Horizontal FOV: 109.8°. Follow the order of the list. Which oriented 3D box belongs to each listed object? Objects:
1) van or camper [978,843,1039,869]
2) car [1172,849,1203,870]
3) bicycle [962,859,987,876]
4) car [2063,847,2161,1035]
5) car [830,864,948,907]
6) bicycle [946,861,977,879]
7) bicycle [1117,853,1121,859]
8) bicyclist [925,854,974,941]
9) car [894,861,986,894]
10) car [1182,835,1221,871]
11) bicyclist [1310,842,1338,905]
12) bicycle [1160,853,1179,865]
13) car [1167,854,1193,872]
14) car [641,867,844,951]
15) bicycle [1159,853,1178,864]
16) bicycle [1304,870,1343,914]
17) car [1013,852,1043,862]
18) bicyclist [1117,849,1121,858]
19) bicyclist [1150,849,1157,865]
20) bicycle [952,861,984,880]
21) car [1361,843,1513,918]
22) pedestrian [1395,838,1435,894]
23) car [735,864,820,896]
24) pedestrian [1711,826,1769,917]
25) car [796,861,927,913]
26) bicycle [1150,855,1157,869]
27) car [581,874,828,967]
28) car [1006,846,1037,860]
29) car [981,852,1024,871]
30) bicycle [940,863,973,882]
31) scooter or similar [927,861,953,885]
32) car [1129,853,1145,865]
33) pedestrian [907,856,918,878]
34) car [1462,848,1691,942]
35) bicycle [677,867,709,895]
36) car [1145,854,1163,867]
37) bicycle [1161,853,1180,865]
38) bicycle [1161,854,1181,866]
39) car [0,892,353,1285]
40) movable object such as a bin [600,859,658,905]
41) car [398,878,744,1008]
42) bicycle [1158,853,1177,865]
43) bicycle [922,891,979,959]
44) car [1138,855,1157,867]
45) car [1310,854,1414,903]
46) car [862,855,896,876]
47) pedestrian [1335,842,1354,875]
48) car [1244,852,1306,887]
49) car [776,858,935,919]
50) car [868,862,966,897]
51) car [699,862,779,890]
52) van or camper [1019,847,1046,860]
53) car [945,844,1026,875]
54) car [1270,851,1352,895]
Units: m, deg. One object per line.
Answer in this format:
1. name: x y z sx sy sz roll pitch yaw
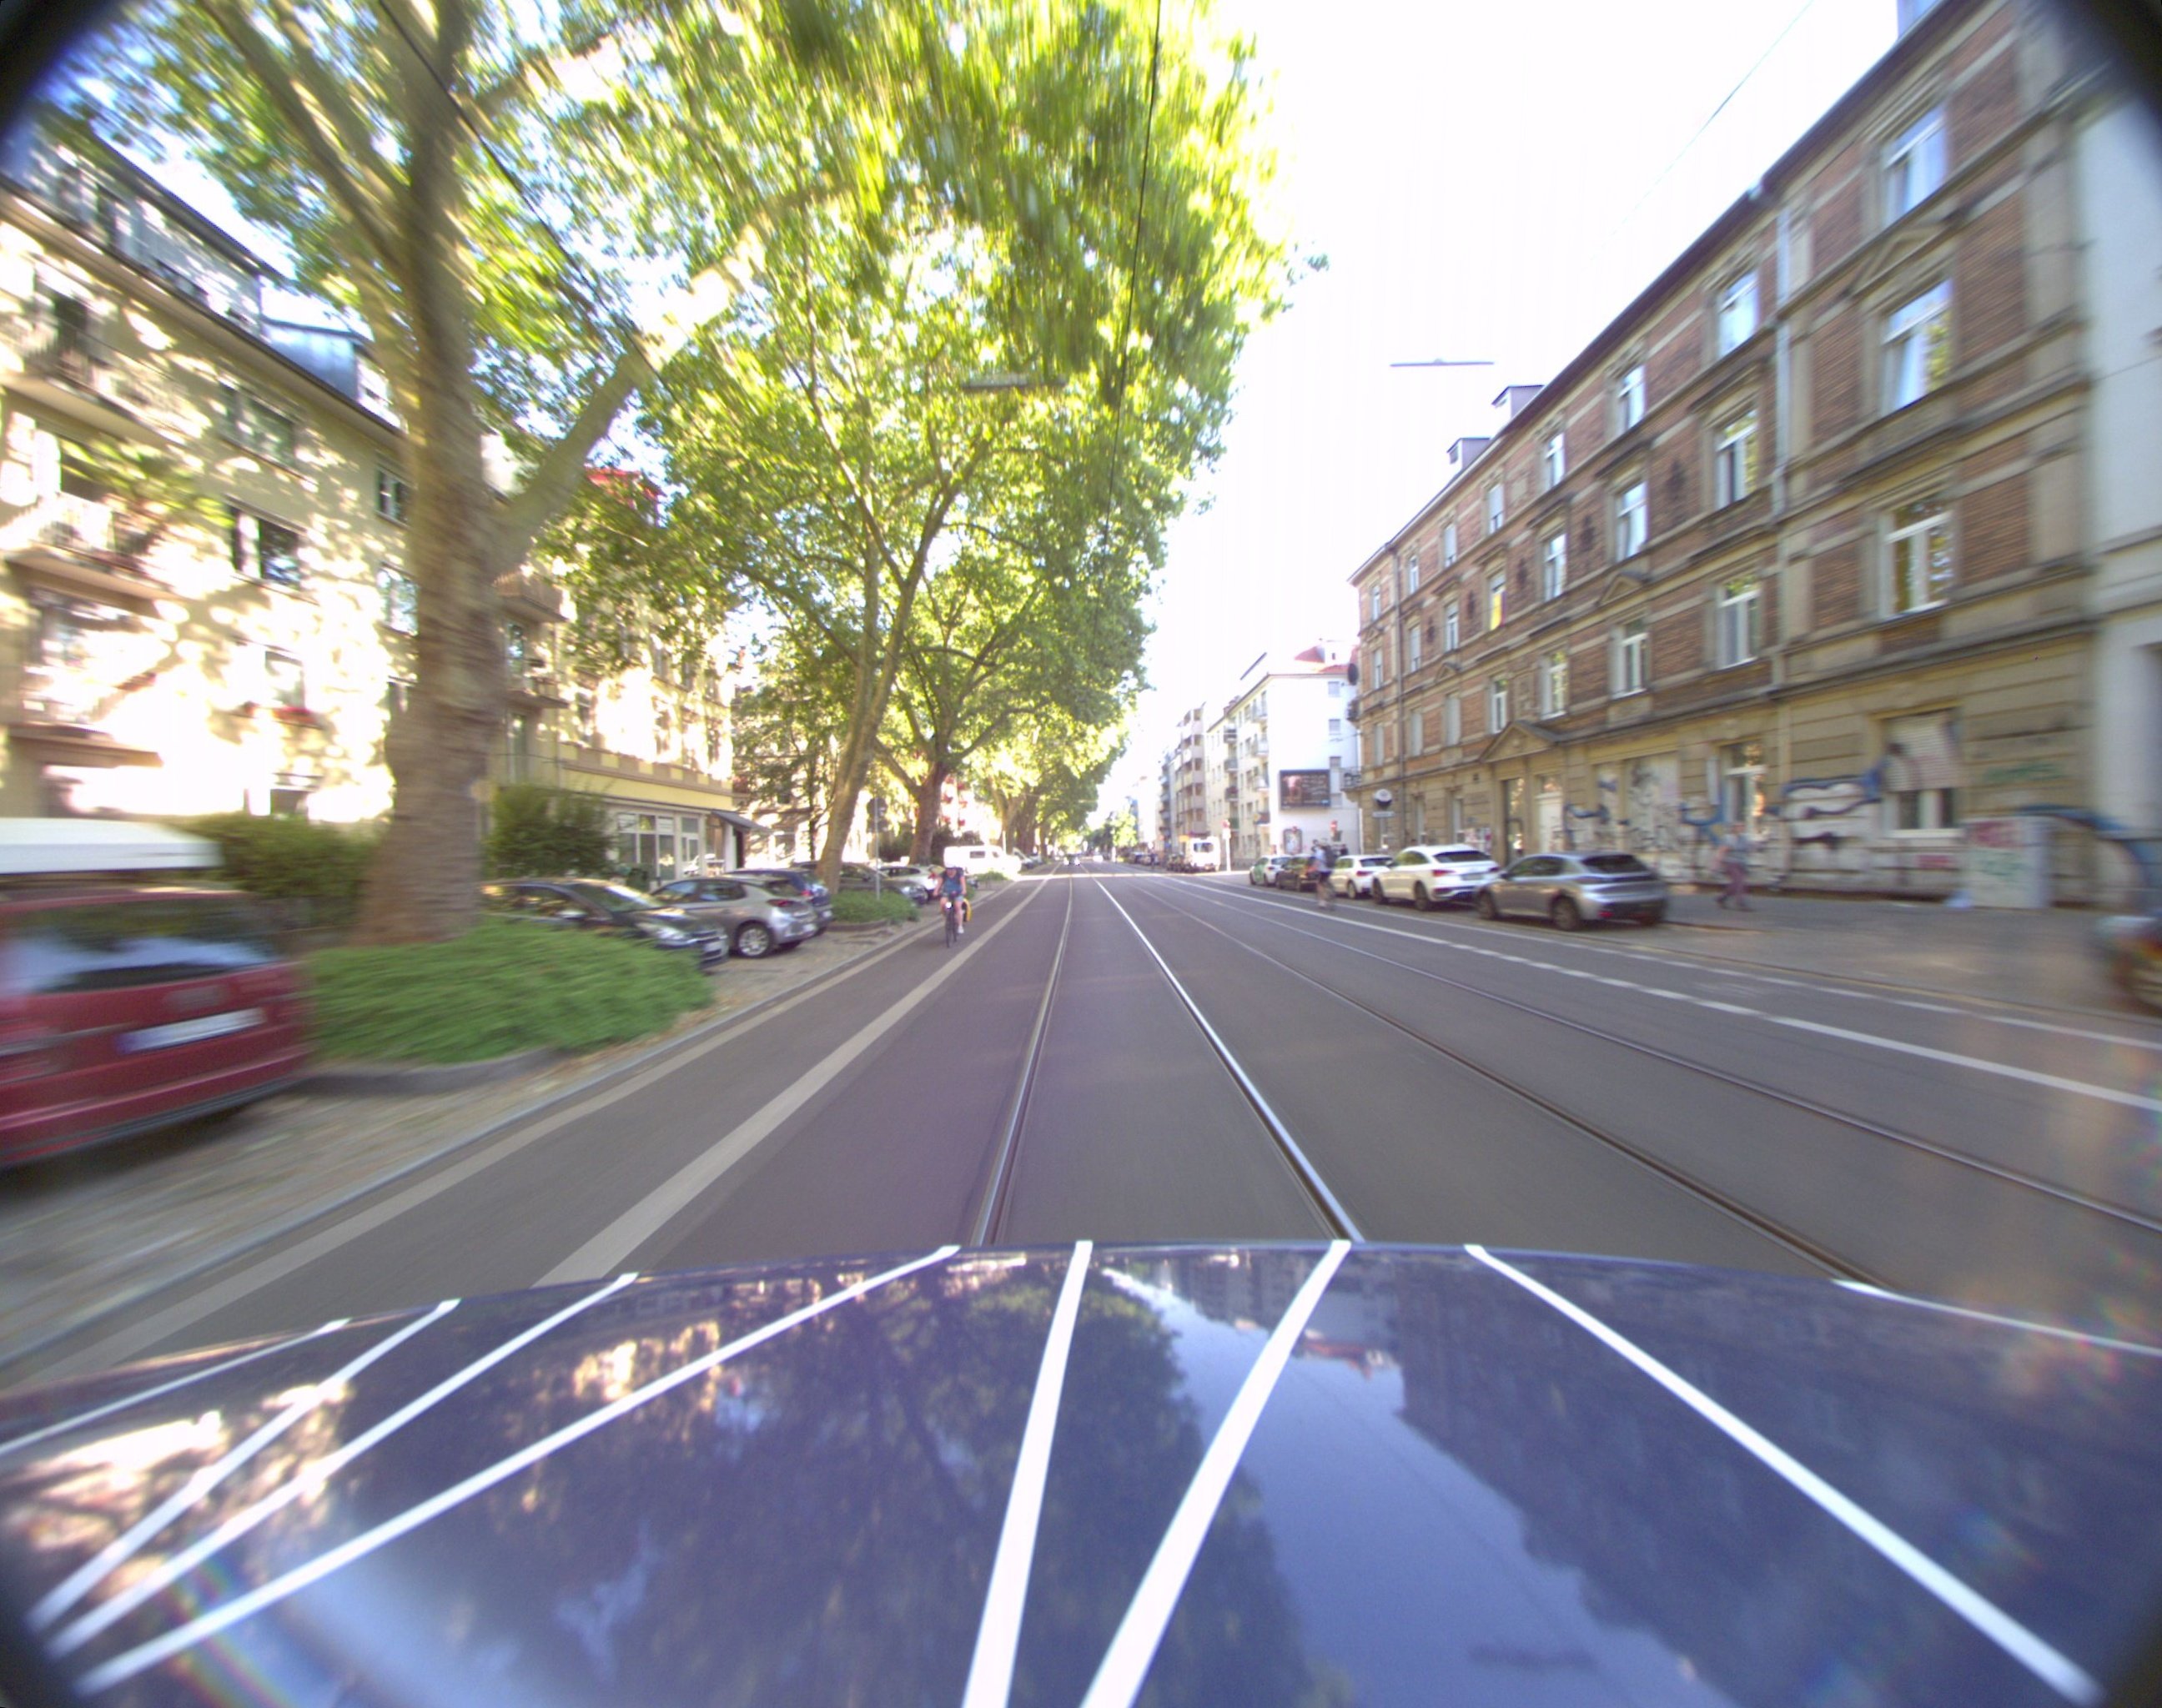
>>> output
1. van or camper: -7.438 0.201 78.171 6.048 2.476 2.107 -1 1 -1
2. car: 8.618 0.397 61.832 1.723 1.622 4.345 -2 0 -2
3. bicycle: -7.643 0.994 54.588 2.043 1.172 0.414 -1 2 37
4. car: 9.462 0.700 4.786 1.557 1.506 3.924 -1 0 2
5. car: -7.125 1.154 28.507 4.040 1.471 1.680 -1 0 -6
6. bicycle: -8.064 1.069 51.258 2.046 1.172 0.413 -2 2 8
7. bicycle: 6.159 0.305 123.149 0.418 1.012 1.946 0 1 0
8. bicyclist: -2.511 0.806 14.584 0.616 1.543 0.935 -6 1 0
9. car: -7.010 1.167 38.017 4.104 1.483 1.832 -1 1 8
10. car: 8.921 -0.073 56.643 2.070 2.521 5.666 -2 1 1
11. bicyclist: 6.511 0.513 20.364 0.474 1.626 0.800 -1 1 0
12. bicycle: 9.153 0.498 78.595 1.972 1.112 0.425 -3 1 6
13. car: 8.714 0.749 67.343 1.722 1.448 4.572 -2 0 1
14. car: -7.150 1.139 16.305 3.604 1.590 1.540 -1 1 0
15. bicycle: 9.198 0.487 79.621 1.935 1.112 0.440 -3 1 6
16. bicycle: 6.540 0.995 20.551 0.482 1.079 1.846 -1 0 1
17. car: -7.919 0.410 113.726 4.206 1.473 1.911 -1 1 0
18. bicyclist: 6.150 -0.092 123.160 0.510 1.386 0.709 0 1 -1
19. bicyclist: 6.592 0.258 69.065 0.584 1.473 0.807 -1 1 -1
20. bicycle: -7.531 1.119 50.703 2.046 1.172 0.413 -2 2 8
21. car: 9.350 0.612 20.434 1.791 1.713 4.717 -3 1 0
22. pedestrian: 11.109 0.377 25.324 0.686 1.790 1.056 -3 1 -9
23. car: -17.074 1.457 42.852 3.996 1.590 1.853 -1 3 4
24. pedestrian: 12.298 0.319 14.199 0.663 1.656 0.770 -2 1 31
25. car: -7.487 1.112 26.190 4.038 1.634 1.681 -1 0 -2
26. bicycle: 6.584 0.714 69.027 0.422 1.144 2.231 -1 1 -1
27. car: -6.651 1.146 13.706 3.604 1.509 1.693 0 1 0
28. car: -8.037 -0.086 102.716 4.004 1.734 1.805 -2 0 -1
29. car: -7.362 0.672 71.691 3.966 1.646 1.795 -1 1 -3
30. bicycle: -8.129 1.201 49.579 2.046 1.172 0.413 -2 2 8
31. scooter or similar: -7.742 1.032 41.700 1.309 1.248 0.341 -1 1 13
32. car: 7.954 0.710 107.982 1.660 1.591 4.201 -3 0 -2
33. pedestrian: -12.537 0.964 56.499 0.594 1.642 0.707 -2 2 -26
34. car: 9.456 0.689 14.957 1.667 1.512 4.063 -3 1 -3
35. bicycle: -16.653 1.138 32.663 0.471 1.149 1.746 0 0 0
36. car: 8.773 0.750 91.676 1.694 1.482 4.727 -1 0 0
37. bicycle: 9.115 0.510 77.407 1.793 1.112 0.425 -3 1 6
38. bicycle: 8.991 0.595 76.053 1.897 1.032 0.402 -3 1 6
39. car: -6.819 1.097 4.156 3.829 1.639 1.766 0 2 -3
40. movable object such as a bin: -14.457 0.873 24.315 1.170 1.429 1.117 0 1 0
41. car: -7.016 1.189 10.747 3.680 1.515 1.693 -2 1 0
42. bicycle: 9.027 0.500 79.098 1.965 1.112 0.440 -3 1 6
43. bicycle: -2.425 1.297 14.390 0.596 0.998 2.511 -4 0 0
44. car: 8.404 0.883 96.479 1.798 1.482 4.239 -2 0 -2
45. car: 9.324 0.759 25.578 1.704 1.412 3.998 -3 1 -4
46. car: -14.550 0.835 54.905 1.737 1.447 3.569 0 0 -4
47. pedestrian: 14.074 0.233 40.600 0.658 1.738 0.894 -3 -1 3
48. car: 9.156 0.706 36.181 1.745 1.483 4.044 -3 1 -2
49. car: -6.758 1.015 23.130 4.274 1.709 1.848 1 0 -3
50. car: -7.616 1.172 35.397 4.105 1.483 1.682 -2 1 5
51. car: -18.988 1.218 42.284 3.687 1.403 1.691 -2 -1 -4
52. van or camper: -7.974 -0.107 124.980 4.389 2.097 1.837 -1 1 -4
53. car: -7.443 0.420 59.689 6.006 2.269 2.006 -1 0 1
54. car: 9.237 0.718 30.933 1.745 1.553 4.785 -3 1 -2
